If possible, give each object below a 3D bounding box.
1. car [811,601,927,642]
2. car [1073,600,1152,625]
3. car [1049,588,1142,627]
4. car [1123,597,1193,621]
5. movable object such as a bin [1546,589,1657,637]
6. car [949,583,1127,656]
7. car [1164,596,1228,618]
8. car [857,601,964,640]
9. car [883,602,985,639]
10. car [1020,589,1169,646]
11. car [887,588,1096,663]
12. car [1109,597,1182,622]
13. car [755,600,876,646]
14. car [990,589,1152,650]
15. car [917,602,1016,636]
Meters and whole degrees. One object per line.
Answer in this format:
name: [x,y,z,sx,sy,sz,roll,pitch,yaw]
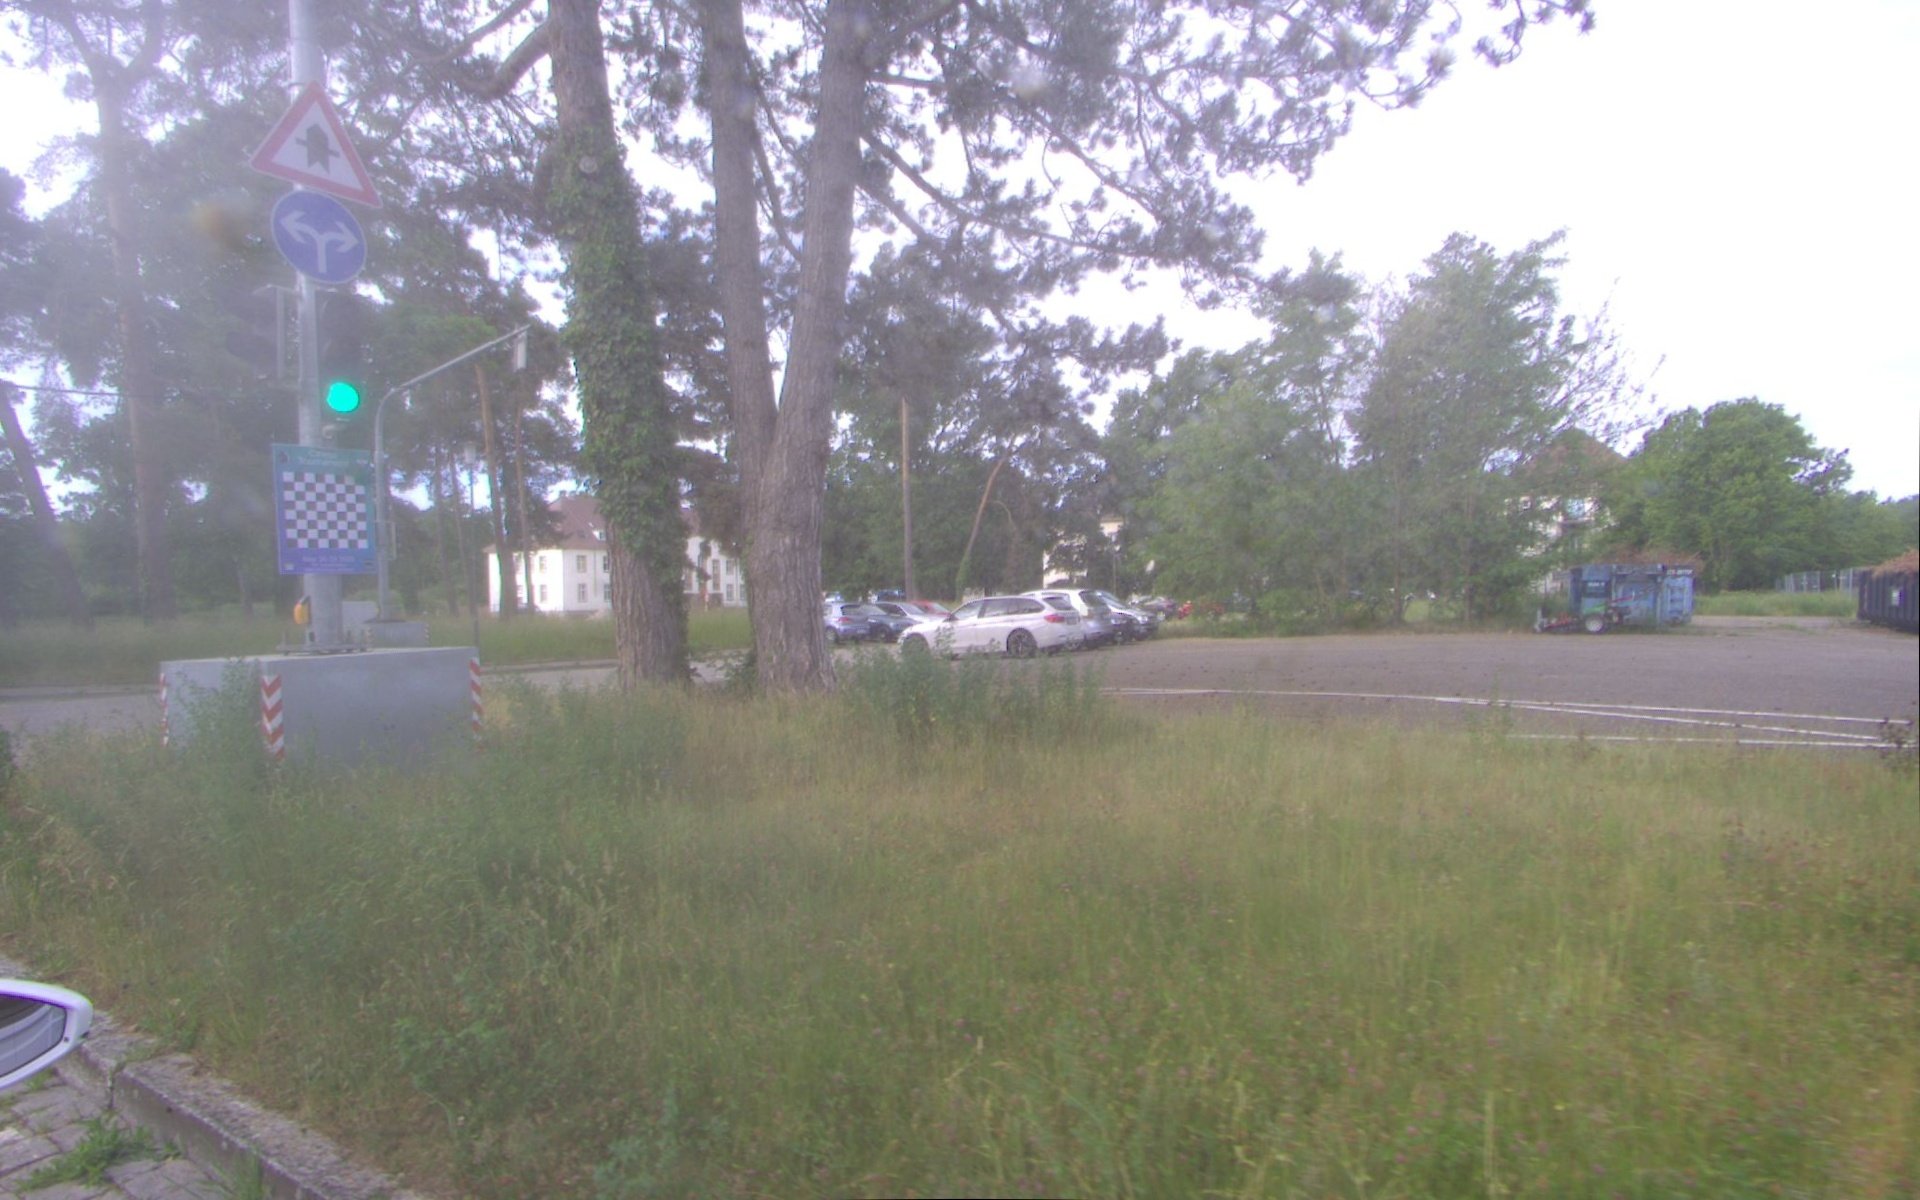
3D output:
car: [-3.447,0.782,37.667,4.184,1.487,1.730,0,0,33]
car: [8.817,0.695,57.881,4.184,1.409,1.729,0,0,34]
car: [7.535,0.424,55.789,4.724,2.053,2.131,0,0,34]
car: [12.987,0.597,65.838,4.183,1.541,1.730,0,0,32]
movable object such as a bin: [15.900,0.346,24.887,2.176,1.149,0.960,-1,-1,23]
car: [1.985,0.522,25.882,4.181,1.626,1.779,-4,-1,29]
car: [16.979,0.500,72.087,4.183,1.541,1.730,0,0,32]
car: [-2.005,0.808,40.019,4.189,1.487,1.727,0,0,38]
car: [-1.132,0.836,42.271,4.189,1.487,1.727,0,0,38]
car: [4.112,0.551,30.882,4.186,1.504,1.697,-4,-1,33]
car: [0.713,0.631,23.565,4.541,1.505,1.846,-4,-2,29]
car: [11.711,0.609,63.339,4.183,1.541,1.730,0,0,32]
car: [-5.165,0.790,35.644,4.184,1.529,1.730,0,0,33]
car: [3.098,0.564,28.286,4.186,1.504,1.697,-4,-1,33]
car: [0.264,0.809,44.138,4.189,1.409,1.727,0,0,38]
